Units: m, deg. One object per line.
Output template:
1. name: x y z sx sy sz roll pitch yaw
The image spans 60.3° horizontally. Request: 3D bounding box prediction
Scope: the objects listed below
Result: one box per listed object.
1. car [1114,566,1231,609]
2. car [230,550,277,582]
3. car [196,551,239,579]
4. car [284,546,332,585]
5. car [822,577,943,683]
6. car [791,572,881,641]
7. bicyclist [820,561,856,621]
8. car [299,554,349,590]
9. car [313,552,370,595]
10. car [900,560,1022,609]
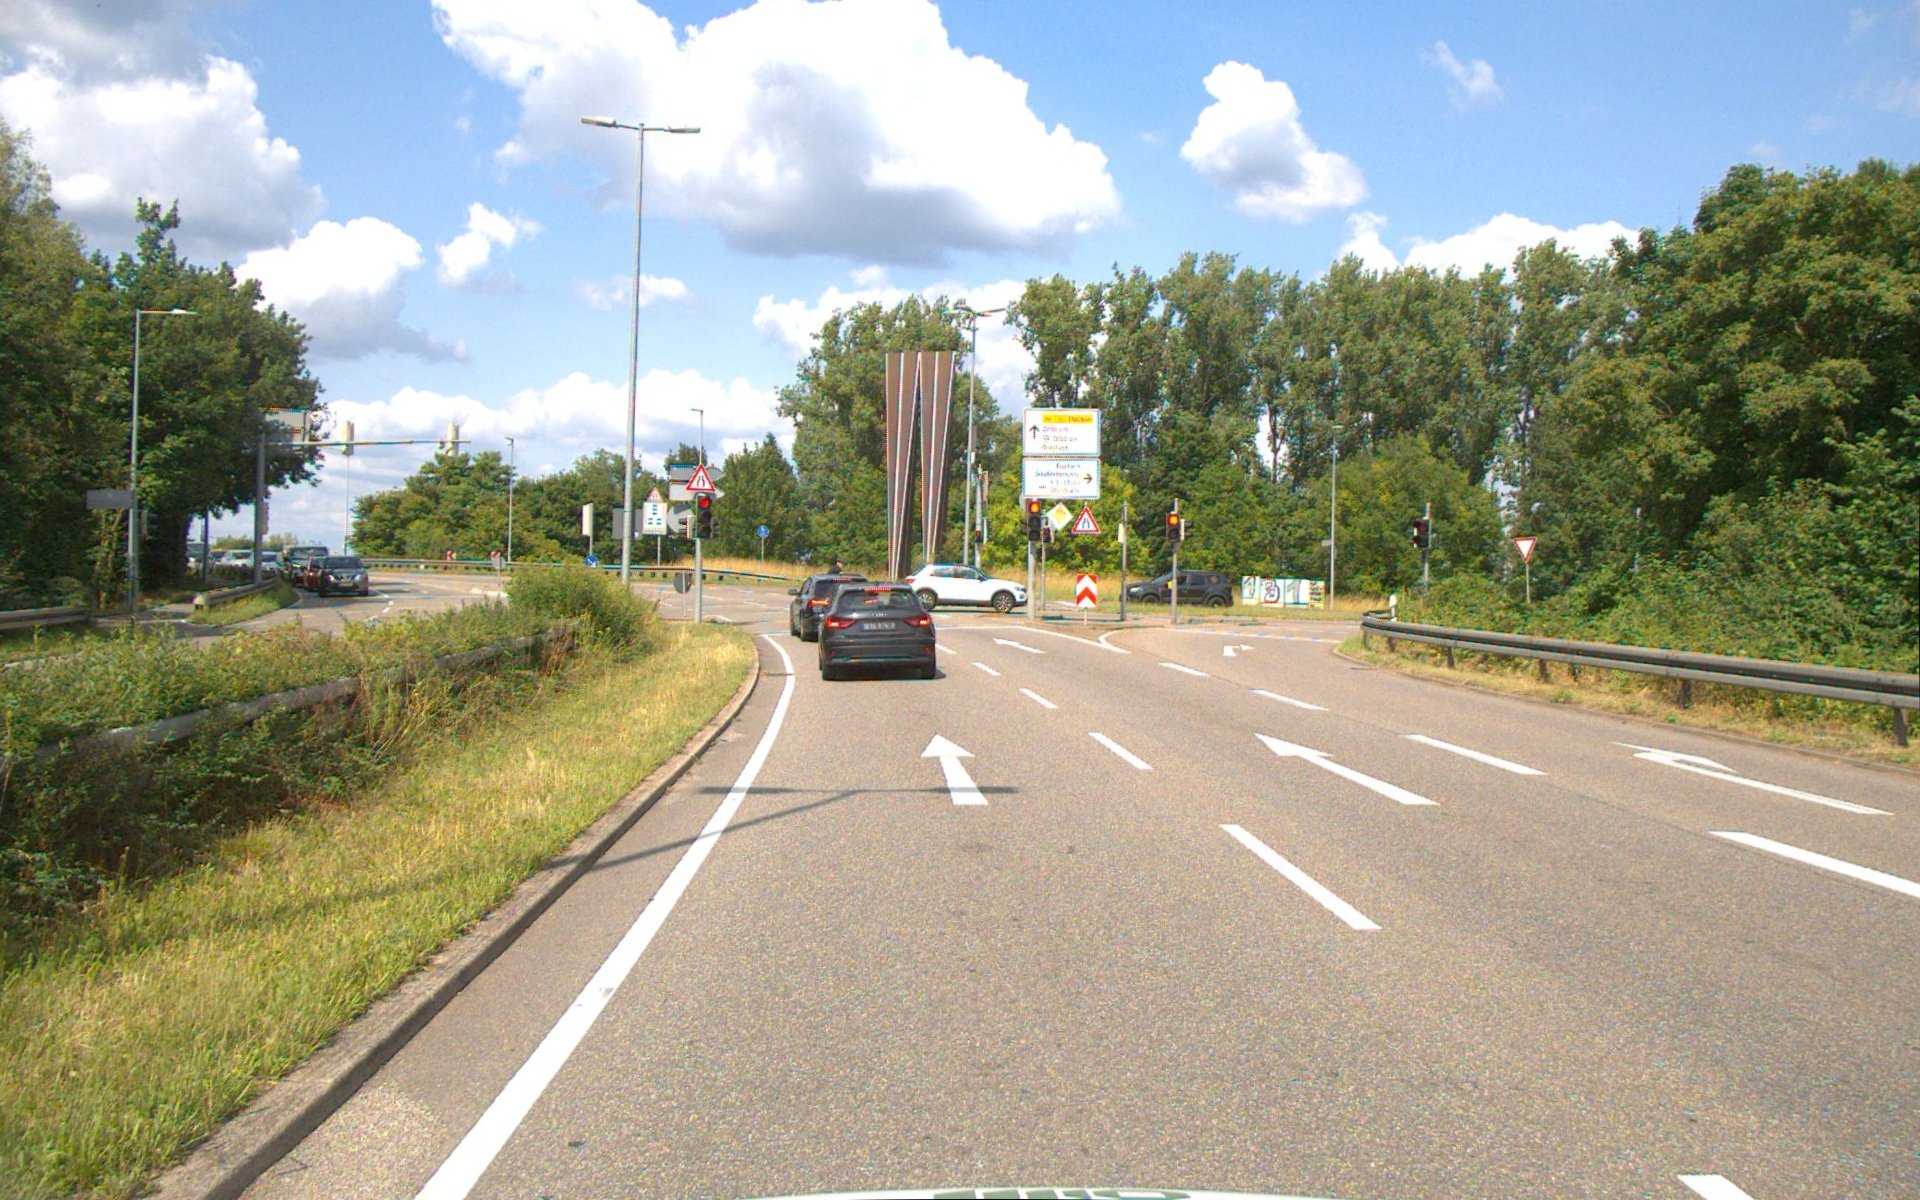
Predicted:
1. car: 8.140 -0.482 63.559 4.186 1.572 1.735 1 1 -7
2. car: -39.535 -1.911 92.487 1.825 1.735 4.281 0 1 -31
3. car: -46.726 -2.193 103.997 1.826 1.735 4.277 0 1 -33
4. car: -31.259 -1.646 79.231 1.821 1.833 4.290 0 1 -26
5. car: -1.278 0.402 25.685 1.692 1.428 3.996 -2 1 -5
6. car: -2.885 0.108 37.827 1.695 1.448 3.836 -1 1 -10
7. bicyclist: -3.244 -0.241 43.856 0.821 1.587 0.669 1 0 -17
8. car: -28.197 -1.250 73.295 1.710 1.502 4.013 0 1 -26
9. car: -24.700 -1.024 65.986 1.816 1.646 3.966 0 0 -26
10. car: 0.054 -0.513 54.667 3.950 1.502 1.737 1 0 1
